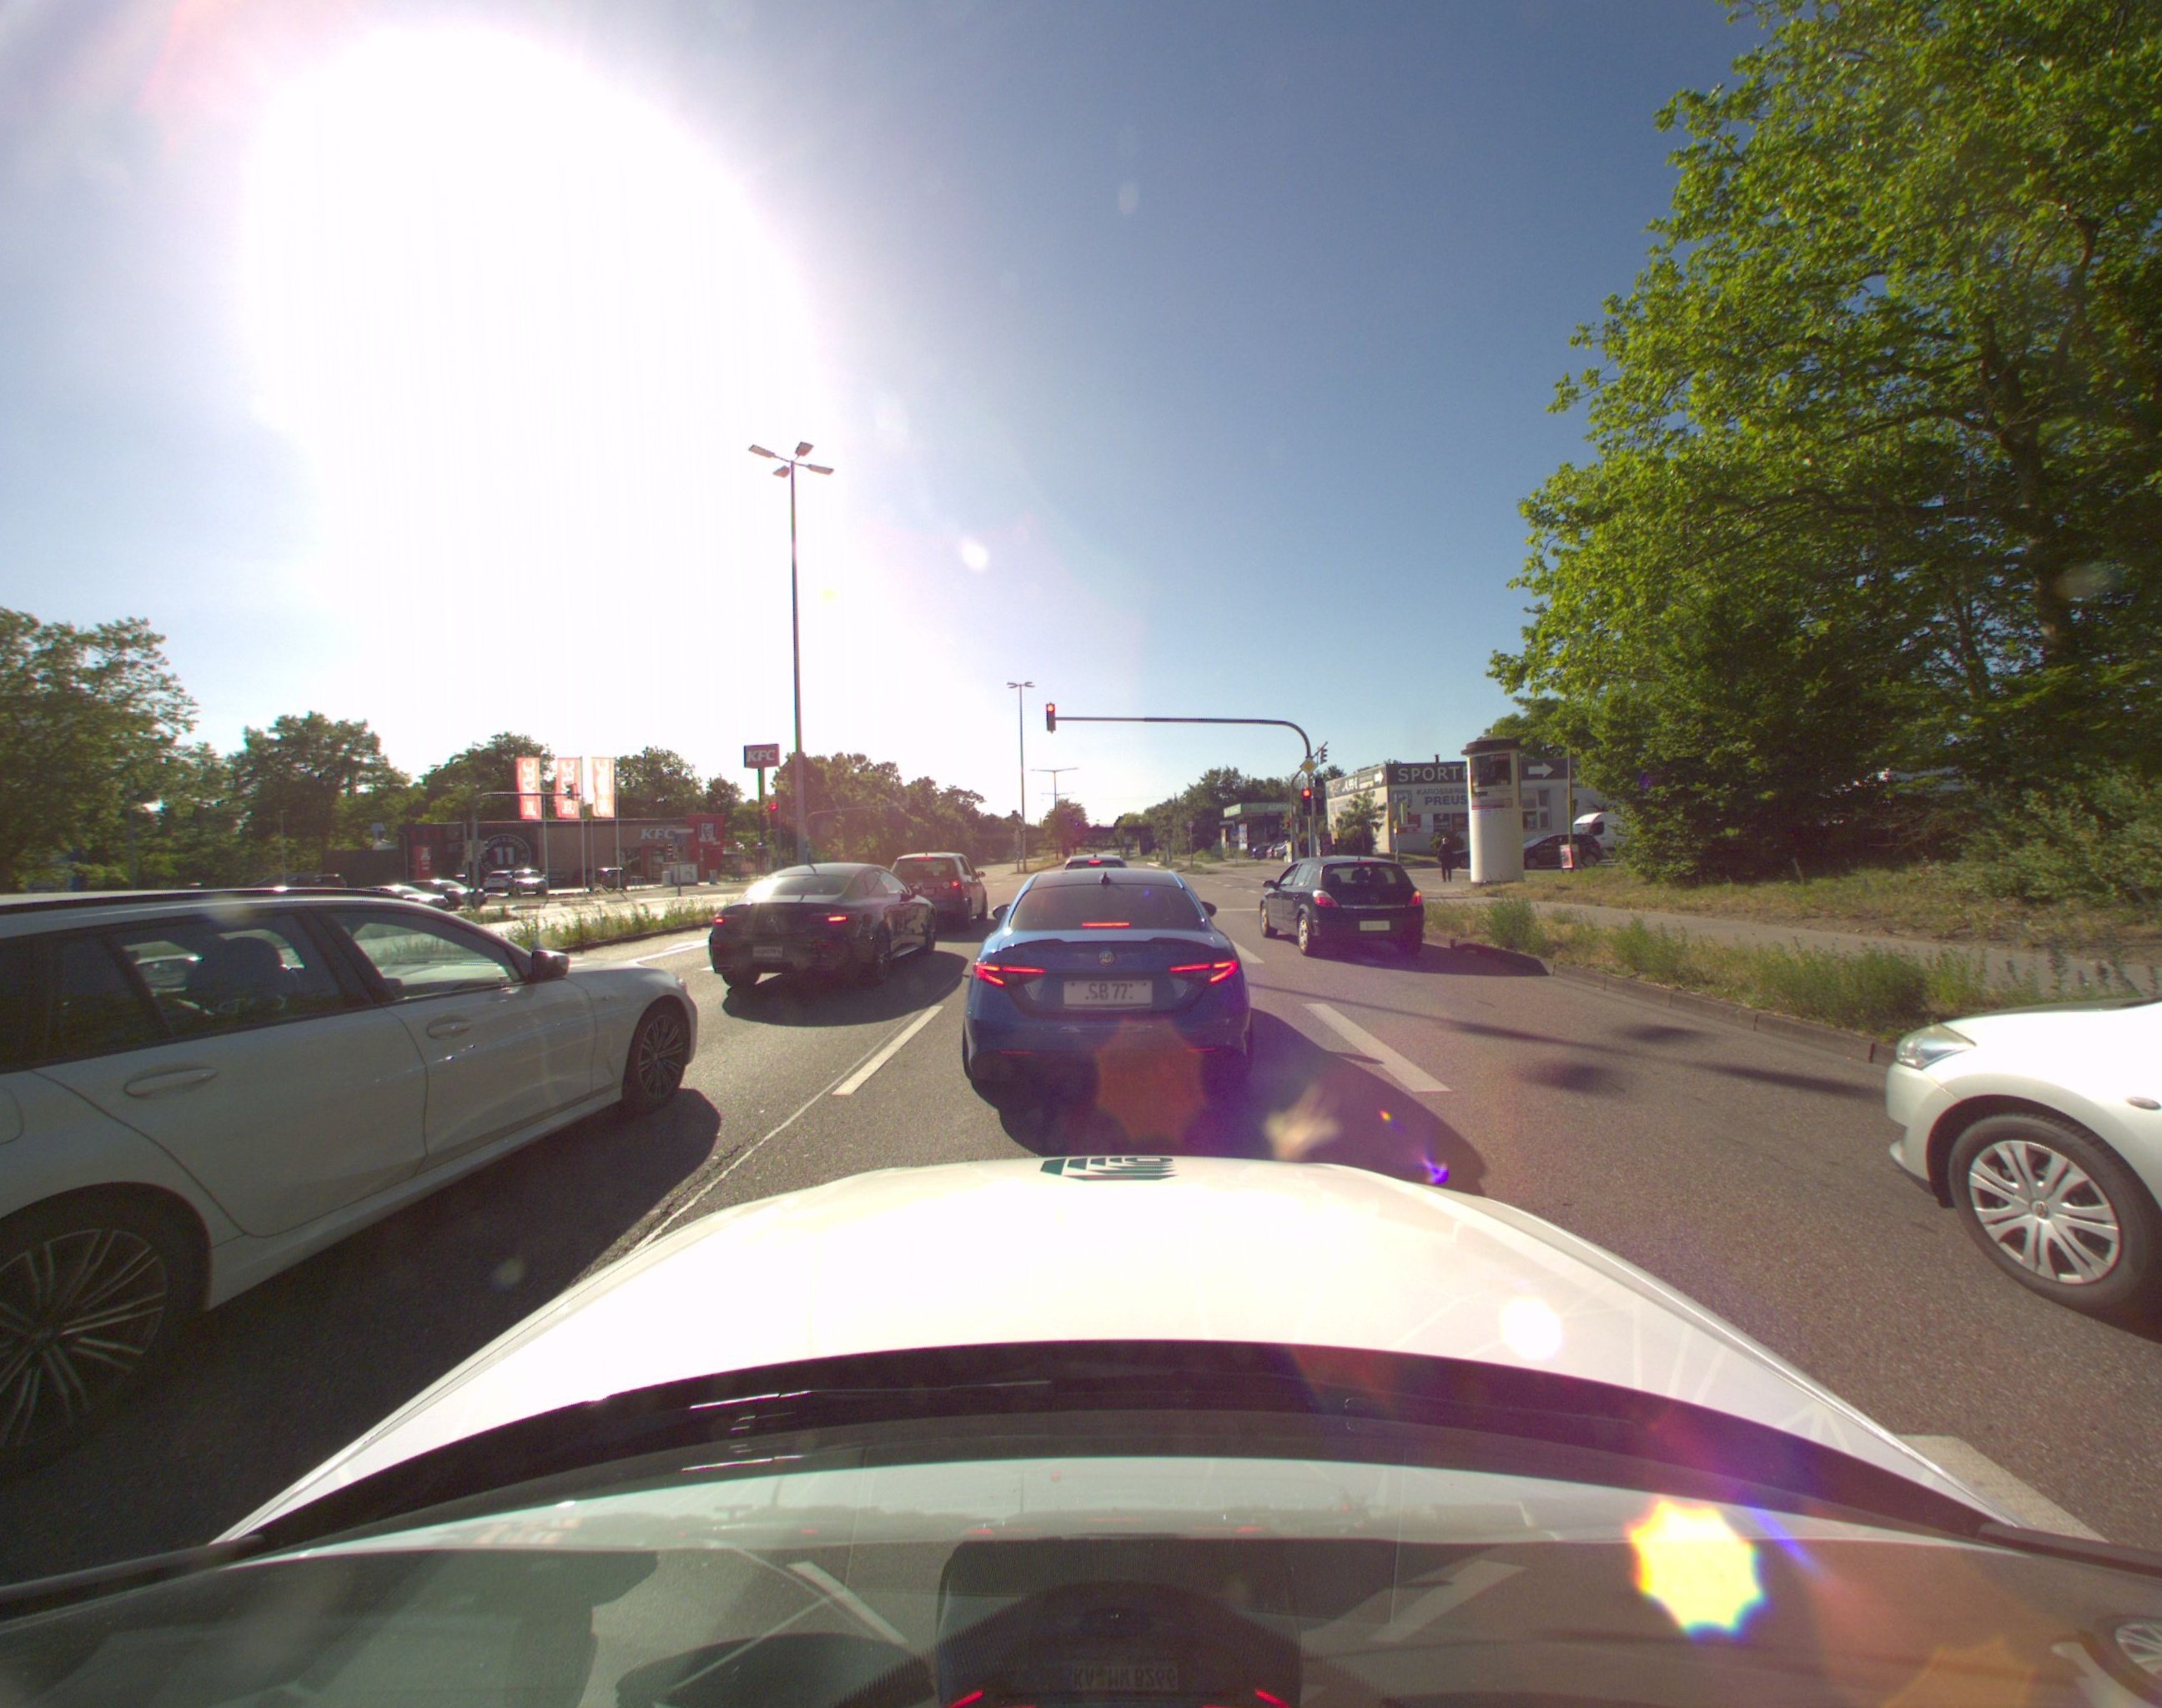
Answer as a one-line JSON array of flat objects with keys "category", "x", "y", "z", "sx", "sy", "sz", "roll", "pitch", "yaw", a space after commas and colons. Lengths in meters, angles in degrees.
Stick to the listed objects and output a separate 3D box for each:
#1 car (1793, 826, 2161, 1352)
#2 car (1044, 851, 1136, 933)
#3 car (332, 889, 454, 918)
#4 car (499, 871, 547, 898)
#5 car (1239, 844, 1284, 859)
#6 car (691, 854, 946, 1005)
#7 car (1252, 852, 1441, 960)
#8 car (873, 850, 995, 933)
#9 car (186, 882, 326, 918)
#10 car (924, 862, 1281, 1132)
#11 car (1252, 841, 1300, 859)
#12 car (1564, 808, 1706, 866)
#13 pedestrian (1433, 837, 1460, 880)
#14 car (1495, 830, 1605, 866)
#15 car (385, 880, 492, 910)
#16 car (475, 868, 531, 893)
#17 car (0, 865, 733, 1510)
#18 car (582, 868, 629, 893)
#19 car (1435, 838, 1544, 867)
[{"category": "car", "x": 4.021, "y": 0.685, "z": 1.583, "sx": 1.777, "sy": 1.537, "sz": 4.109, "roll": 0, "pitch": 0, "yaw": 2}, {"category": "car", "x": 0.276, "y": 0.713, "z": 16.879, "sx": 1.696, "sy": 1.497, "sz": 3.722, "roll": 0, "pitch": -1, "yaw": 3}, {"category": "car", "x": -32.185, "y": 2.306, "z": 38.196, "sx": 4.070, "sy": 1.252, "sz": 1.871, "roll": 0, "pitch": -1, "yaw": 0}, {"category": "car", "x": -37.381, "y": 2.009, "z": 54.543, "sx": 1.946, "sy": 1.740, "sz": 4.046, "roll": 0, "pitch": -1, "yaw": -45}, {"category": "car", "x": 18.386, "y": -0.269, "z": 83.089, "sx": 3.995, "sy": 1.552, "sz": 1.989, "roll": 0, "pitch": -1, "yaw": -16}, {"category": "car", "x": -3.140, "y": 0.791, "z": 10.832, "sx": 1.806, "sy": 1.551, "sz": 4.544, "roll": -1, "pitch": 0, "yaw": 1}, {"category": "car", "x": 4.038, "y": 0.707, "z": 13.159, "sx": 1.727, "sy": 1.442, "sz": 4.373, "roll": 0, "pitch": 0, "yaw": 2}, {"category": "car", "x": -3.013, "y": 0.732, "z": 17.605, "sx": 1.806, "sy": 1.551, "sz": 4.353, "roll": 0, "pitch": -1, "yaw": 0}, {"category": "car", "x": -39.098, "y": 2.180, "z": 38.680, "sx": 4.608, "sy": 1.579, "sz": 1.936, "roll": 0, "pitch": -1, "yaw": 0}, {"category": "car", "x": 0.218, "y": 0.782, "z": 6.216, "sx": 1.901, "sy": 1.423, "sz": 3.722, "roll": 0, "pitch": -1, "yaw": 3}, {"category": "car", "x": 17.820, "y": -0.335, "z": 74.435, "sx": 3.971, "sy": 1.552, "sz": 2.001, "roll": 0, "pitch": -1, "yaw": 2}, {"category": "car", "x": 28.561, "y": -0.857, "z": 42.118, "sx": 5.812, "sy": 2.672, "sz": 2.001, "roll": -3, "pitch": -1, "yaw": 2}, {"category": "pedestrian", "x": 14.189, "y": 0.175, "z": 31.643, "sx": 0.814, "sy": 1.669, "sz": 0.514, "roll": 0, "pitch": -1, "yaw": 1}, {"category": "car", "x": 22.305, "y": -0.253, "z": 38.797, "sx": 4.291, "sy": 1.650, "sz": 1.638, "roll": 0, "pitch": -1, "yaw": 1}, {"category": "car", "x": -32.875, "y": 2.091, "z": 41.772, "sx": 3.940, "sy": 1.453, "sz": 1.937, "roll": 0, "pitch": -1, "yaw": 1}, {"category": "car", "x": -43.216, "y": 1.959, "z": 61.010, "sx": 1.994, "sy": 1.813, "sz": 3.758, "roll": 0, "pitch": -1, "yaw": -11}, {"category": "car", "x": -3.440, "y": 0.840, "z": 3.402, "sx": 1.805, "sy": 1.486, "sz": 4.599, "roll": -1, "pitch": 0, "yaw": 2}, {"category": "car", "x": -33.913, "y": 1.852, "z": 58.014, "sx": 1.946, "sy": 1.740, "sz": 4.046, "roll": 0, "pitch": -1, "yaw": -45}, {"category": "car", "x": 21.181, "y": -0.058, "z": 42.335, "sx": 4.803, "sy": 1.468, "sz": 1.758, "roll": 0, "pitch": -1, "yaw": 0}]
